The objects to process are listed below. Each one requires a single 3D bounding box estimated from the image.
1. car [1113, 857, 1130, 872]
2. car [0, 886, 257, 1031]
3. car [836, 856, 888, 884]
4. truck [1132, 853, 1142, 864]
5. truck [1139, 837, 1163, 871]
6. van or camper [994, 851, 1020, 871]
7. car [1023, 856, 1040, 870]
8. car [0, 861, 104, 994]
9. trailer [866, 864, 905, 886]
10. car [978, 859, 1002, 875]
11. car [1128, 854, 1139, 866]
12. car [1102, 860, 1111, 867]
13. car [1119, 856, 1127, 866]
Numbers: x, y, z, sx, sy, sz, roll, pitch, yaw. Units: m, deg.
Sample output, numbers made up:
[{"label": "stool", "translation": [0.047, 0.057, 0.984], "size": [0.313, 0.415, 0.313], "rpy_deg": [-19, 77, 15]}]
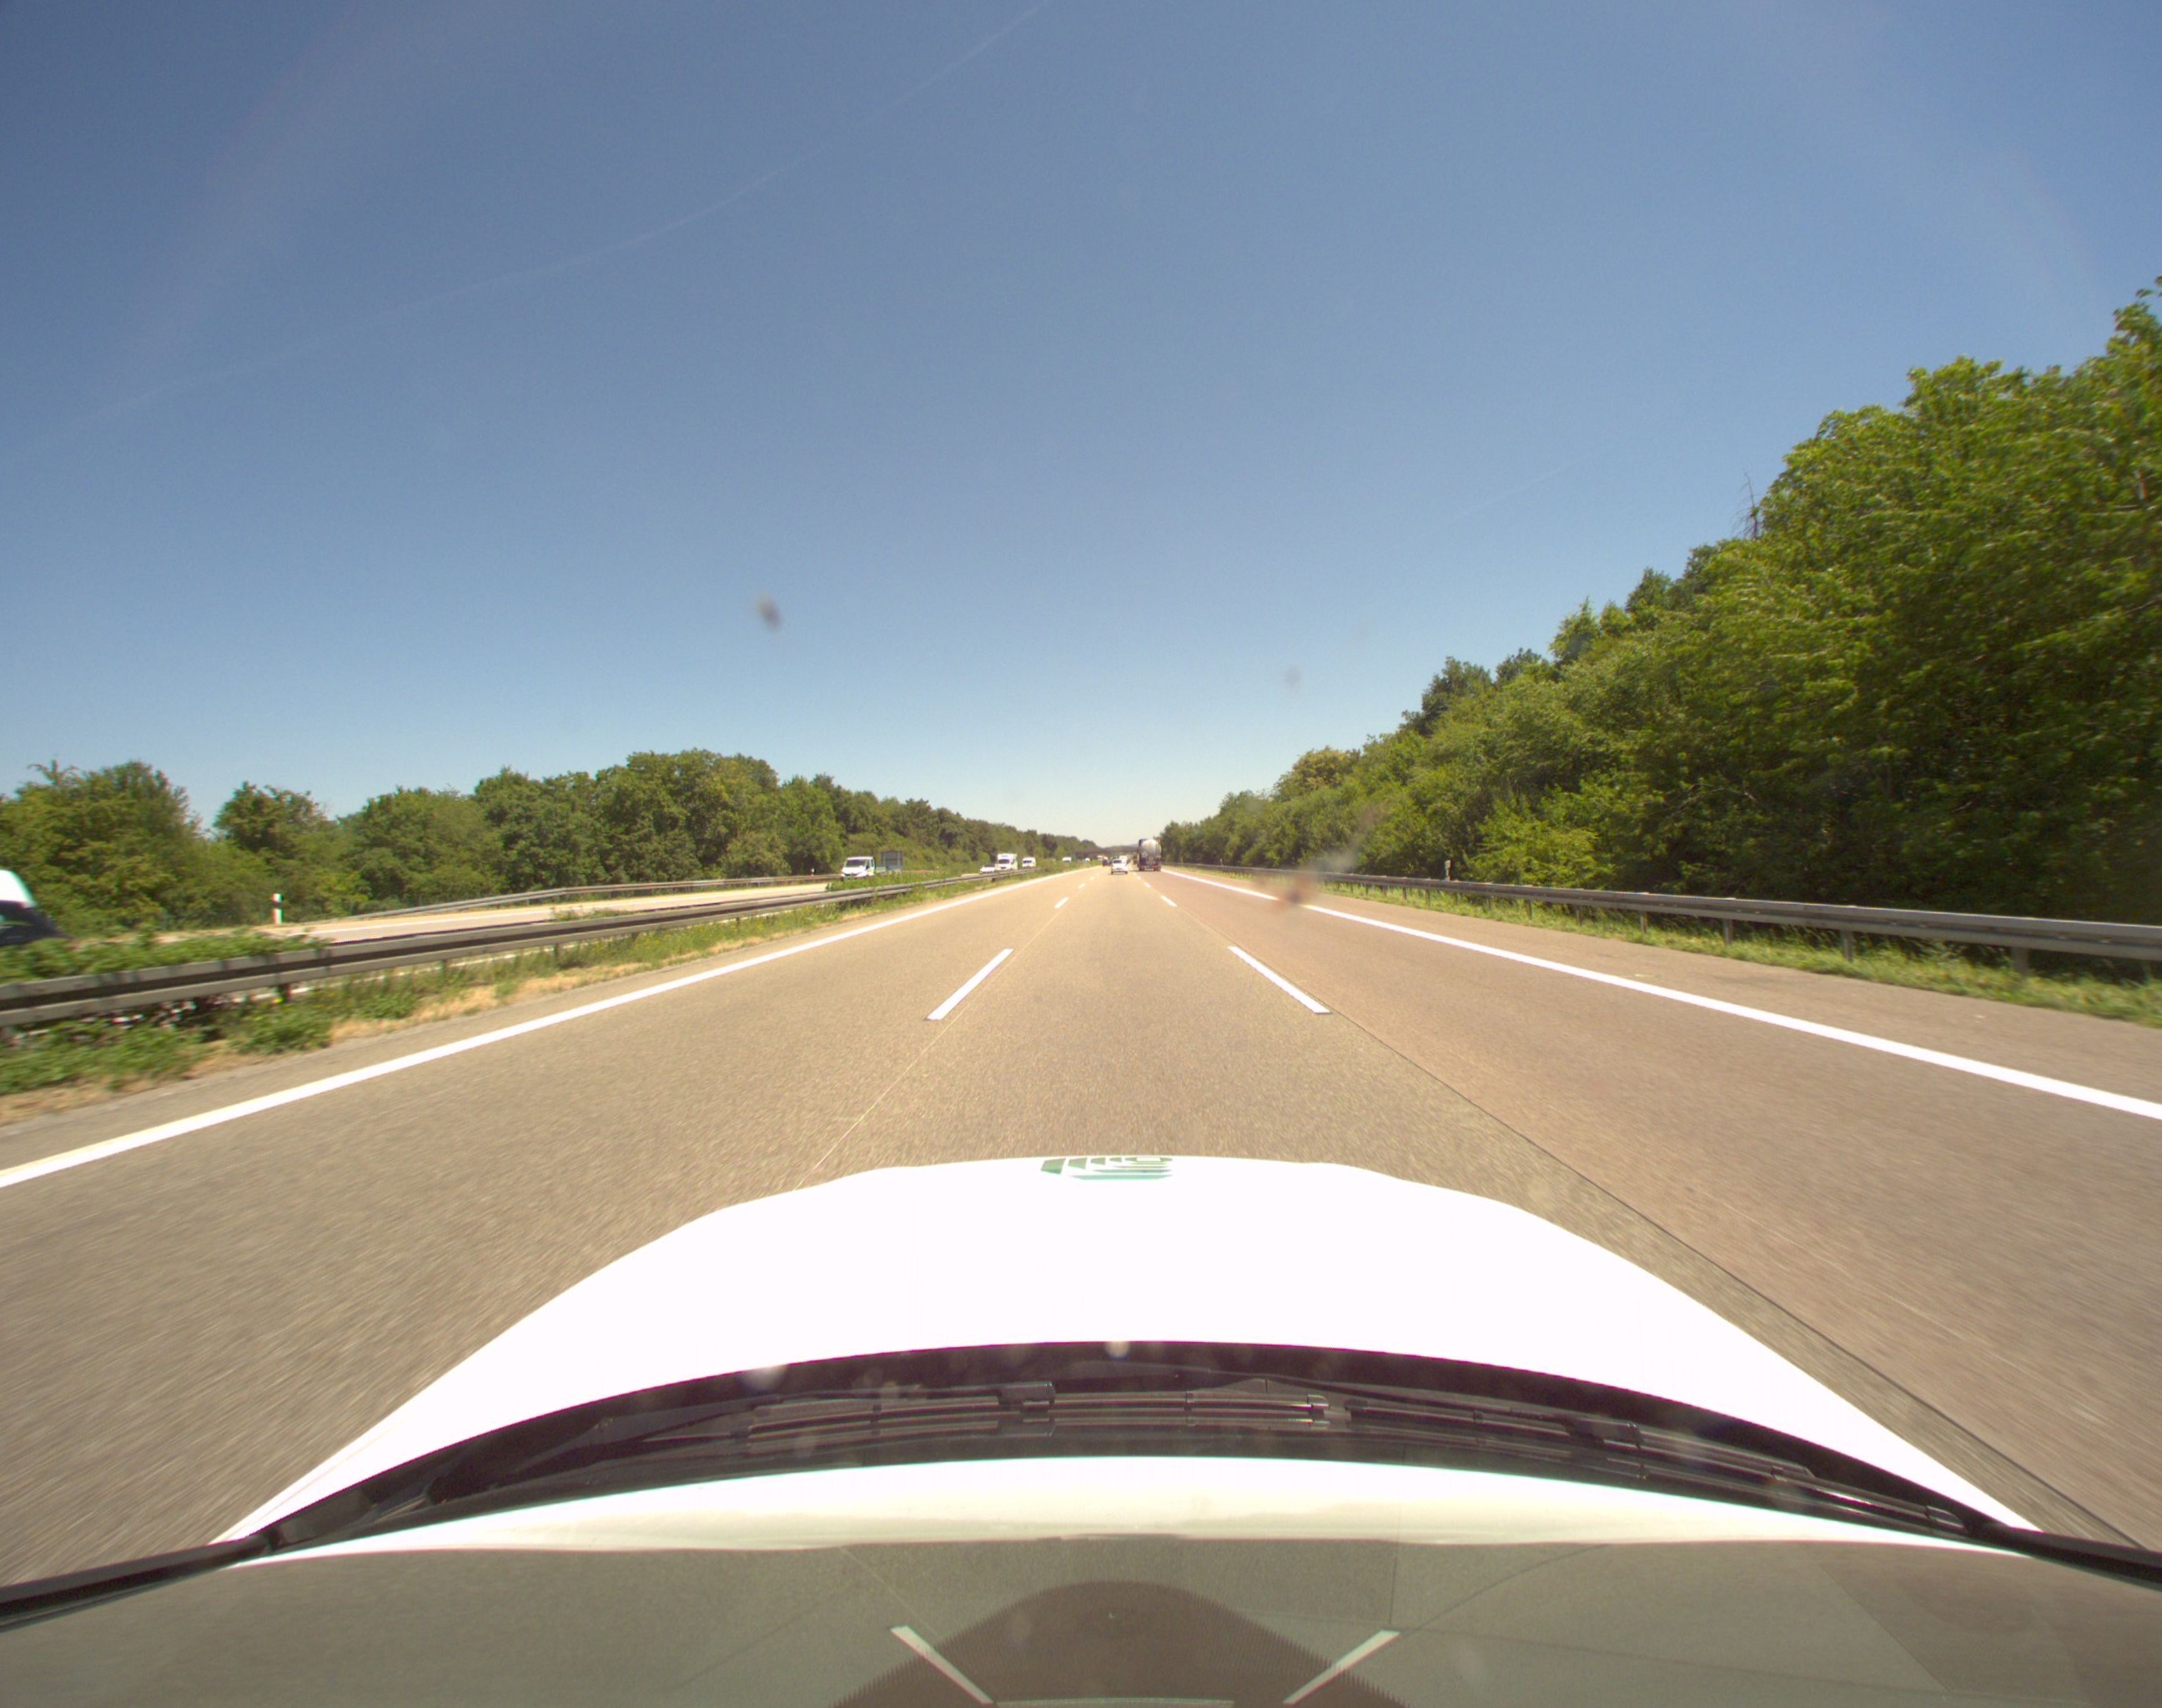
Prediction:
[{"label": "car", "translation": [4.145, 1.049, 83.521], "size": [1.621, 1.479, 4.002], "rpy_deg": [-1, -1, 2]}, {"label": "car", "translation": [-12.011, 1.162, 9.413], "size": [1.368, 1.427, 3.457], "rpy_deg": [-1, 0, 2]}, {"label": "car", "translation": [-17.805, 1.268, 66.594], "size": [2.235, 2.172, 6.545], "rpy_deg": [-1, 0, 3]}, {"label": "truck", "translation": [17.644, 1.414, 257.820], "size": [2.903, 3.240, 6.349], "rpy_deg": [-1, -1, 3]}, {"label": "truck", "translation": [8.865, 0.009, 103.830], "size": [2.728, 4.052, 10.462], "rpy_deg": [-1, -1, 3]}, {"label": "van or camper", "translation": [-10.986, 1.072, 121.697], "size": [2.502, 2.849, 8.035], "rpy_deg": [-1, 0, 4]}, {"label": "car", "translation": [-9.251, 1.658, 152.751], "size": [2.205, 2.441, 6.425], "rpy_deg": [-2, 0, 3]}, {"label": "car", "translation": [-16.200, 1.049, 10.260], "size": [1.809, 1.876, 4.879], "rpy_deg": [-1, 0, 1]}, {"label": "trailer", "translation": [-17.525, 1.829, 73.263], "size": [2.020, 1.836, 4.992], "rpy_deg": [-1, 0, 2]}, {"label": "car", "translation": [-9.889, 1.391, 88.807], "size": [1.805, 1.596, 5.013], "rpy_deg": [-1, 0, 2]}, {"label": "car", "translation": [10.051, 1.091, 155.174], "size": [1.985, 2.225, 4.790], "rpy_deg": [-1, -1, 3]}, {"label": "car", "translation": [6.208, 2.377, 198.320], "size": [1.985, 1.725, 4.790], "rpy_deg": [-1, -1, 3]}, {"label": "car", "translation": [10.783, 1.763, 208.053], "size": [1.984, 2.343, 4.392], "rpy_deg": [-1, 0, 4]}]
